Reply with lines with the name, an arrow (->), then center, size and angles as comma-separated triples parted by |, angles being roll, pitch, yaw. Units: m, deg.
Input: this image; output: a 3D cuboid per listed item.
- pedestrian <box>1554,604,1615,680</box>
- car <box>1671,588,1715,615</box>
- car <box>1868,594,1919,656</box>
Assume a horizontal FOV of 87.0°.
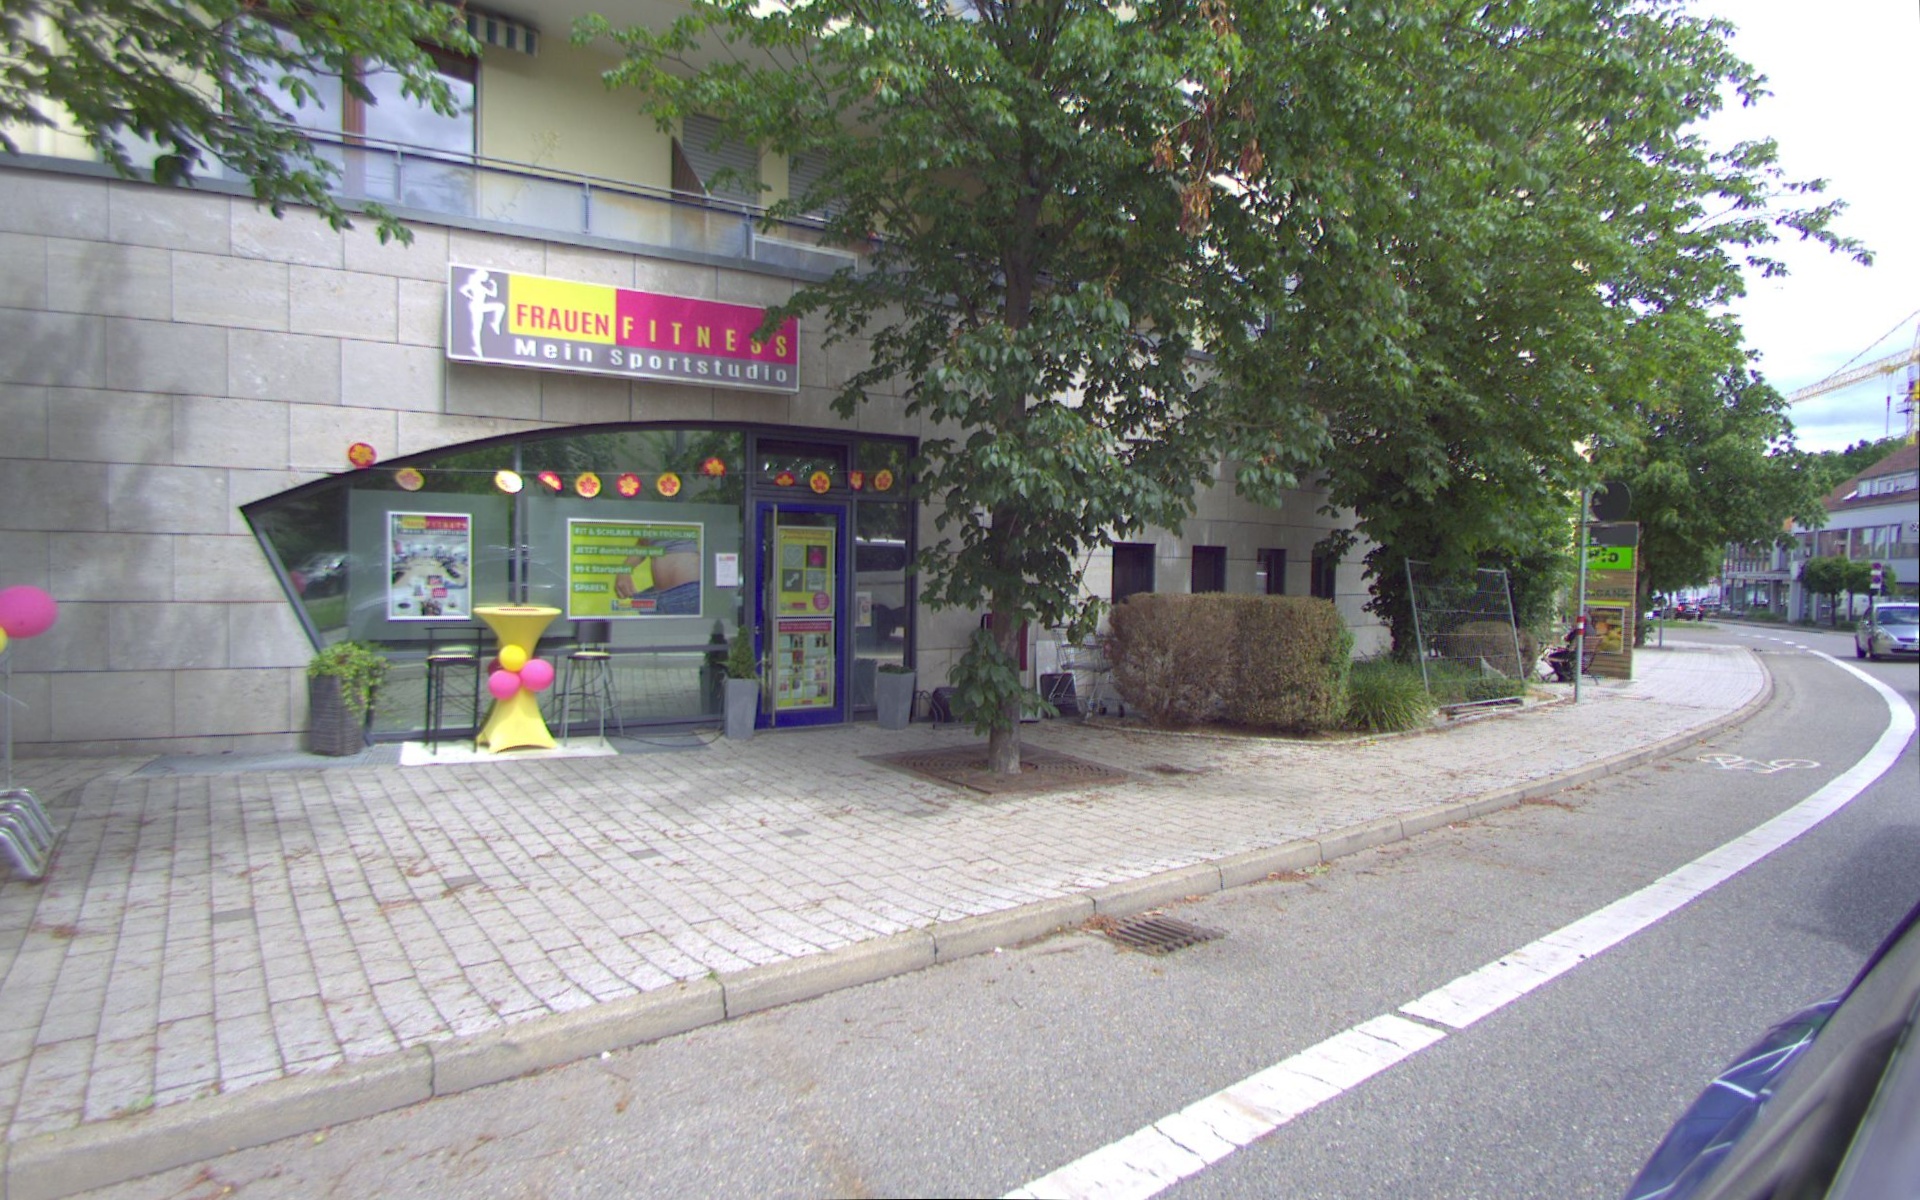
pedestrian -> 11.375, 0.740, 18.438 | 0.741, 1.317, 0.730 | 0, 2, -41
car -> 54.108, 0.054, 74.772 | 1.722, 1.874, 3.970 | 2, 2, 23
car -> 25.267, 0.605, 26.421 | 3.928, 1.505, 1.693 | -1, 0, -39
